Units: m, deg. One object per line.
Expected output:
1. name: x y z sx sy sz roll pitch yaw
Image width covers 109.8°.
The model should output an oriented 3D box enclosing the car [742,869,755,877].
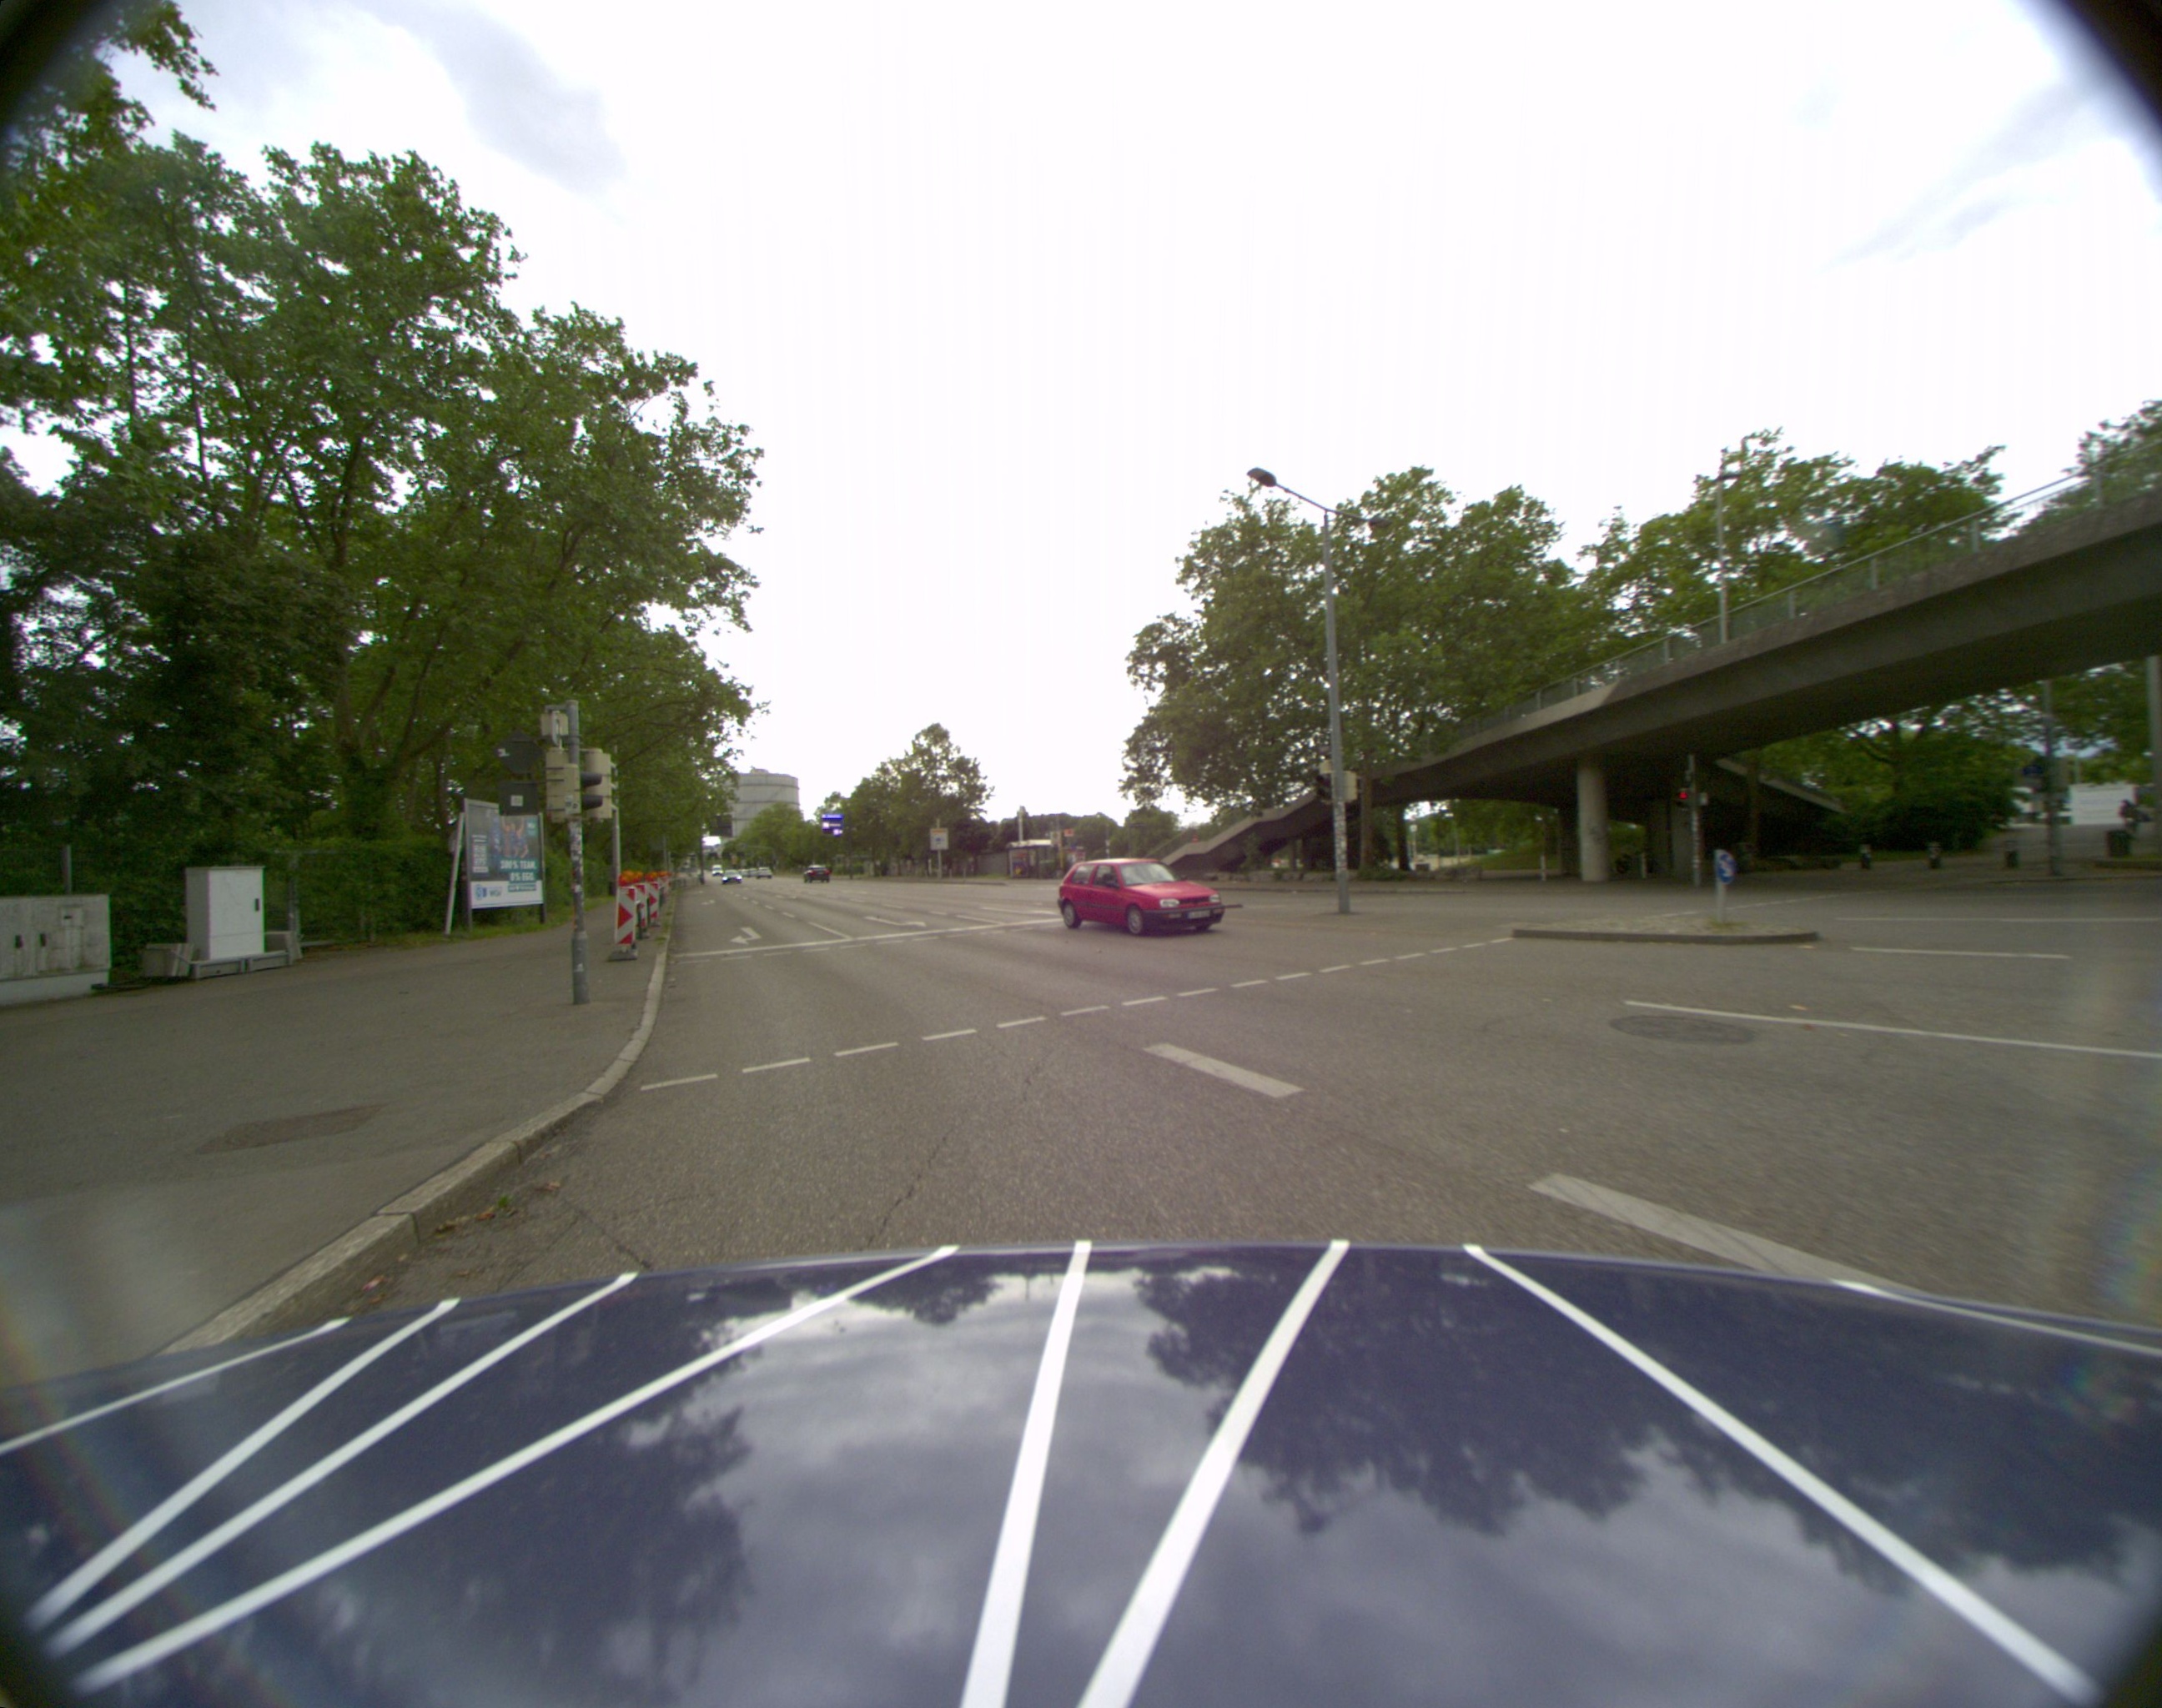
1. car: -64.040 3.655 146.389 2.003 1.521 4.376 -2 0 -27

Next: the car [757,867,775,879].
1. car: -47.022 2.801 113.422 2.003 1.734 4.586 -2 0 -27

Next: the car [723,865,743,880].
1. car: -38.561 2.056 84.189 1.802 1.501 3.992 -2 0 -27

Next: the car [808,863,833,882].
1. car: -24.578 1.738 71.590 1.777 1.596 4.420 -2 0 -23

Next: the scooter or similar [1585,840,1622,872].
1. scooter or similar: 22.468 0.076 32.678 0.418 1.311 1.224 -1 2 -28

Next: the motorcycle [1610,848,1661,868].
1. motorcycle: 25.031 0.195 34.328 0.650 0.846 1.734 -2 0 -22

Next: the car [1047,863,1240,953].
1. car: 1.083 0.967 15.232 1.837 1.443 4.068 -3 0 -29

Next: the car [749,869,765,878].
1. car: -56.772 3.397 133.151 2.003 1.516 3.991 -2 0 -29
